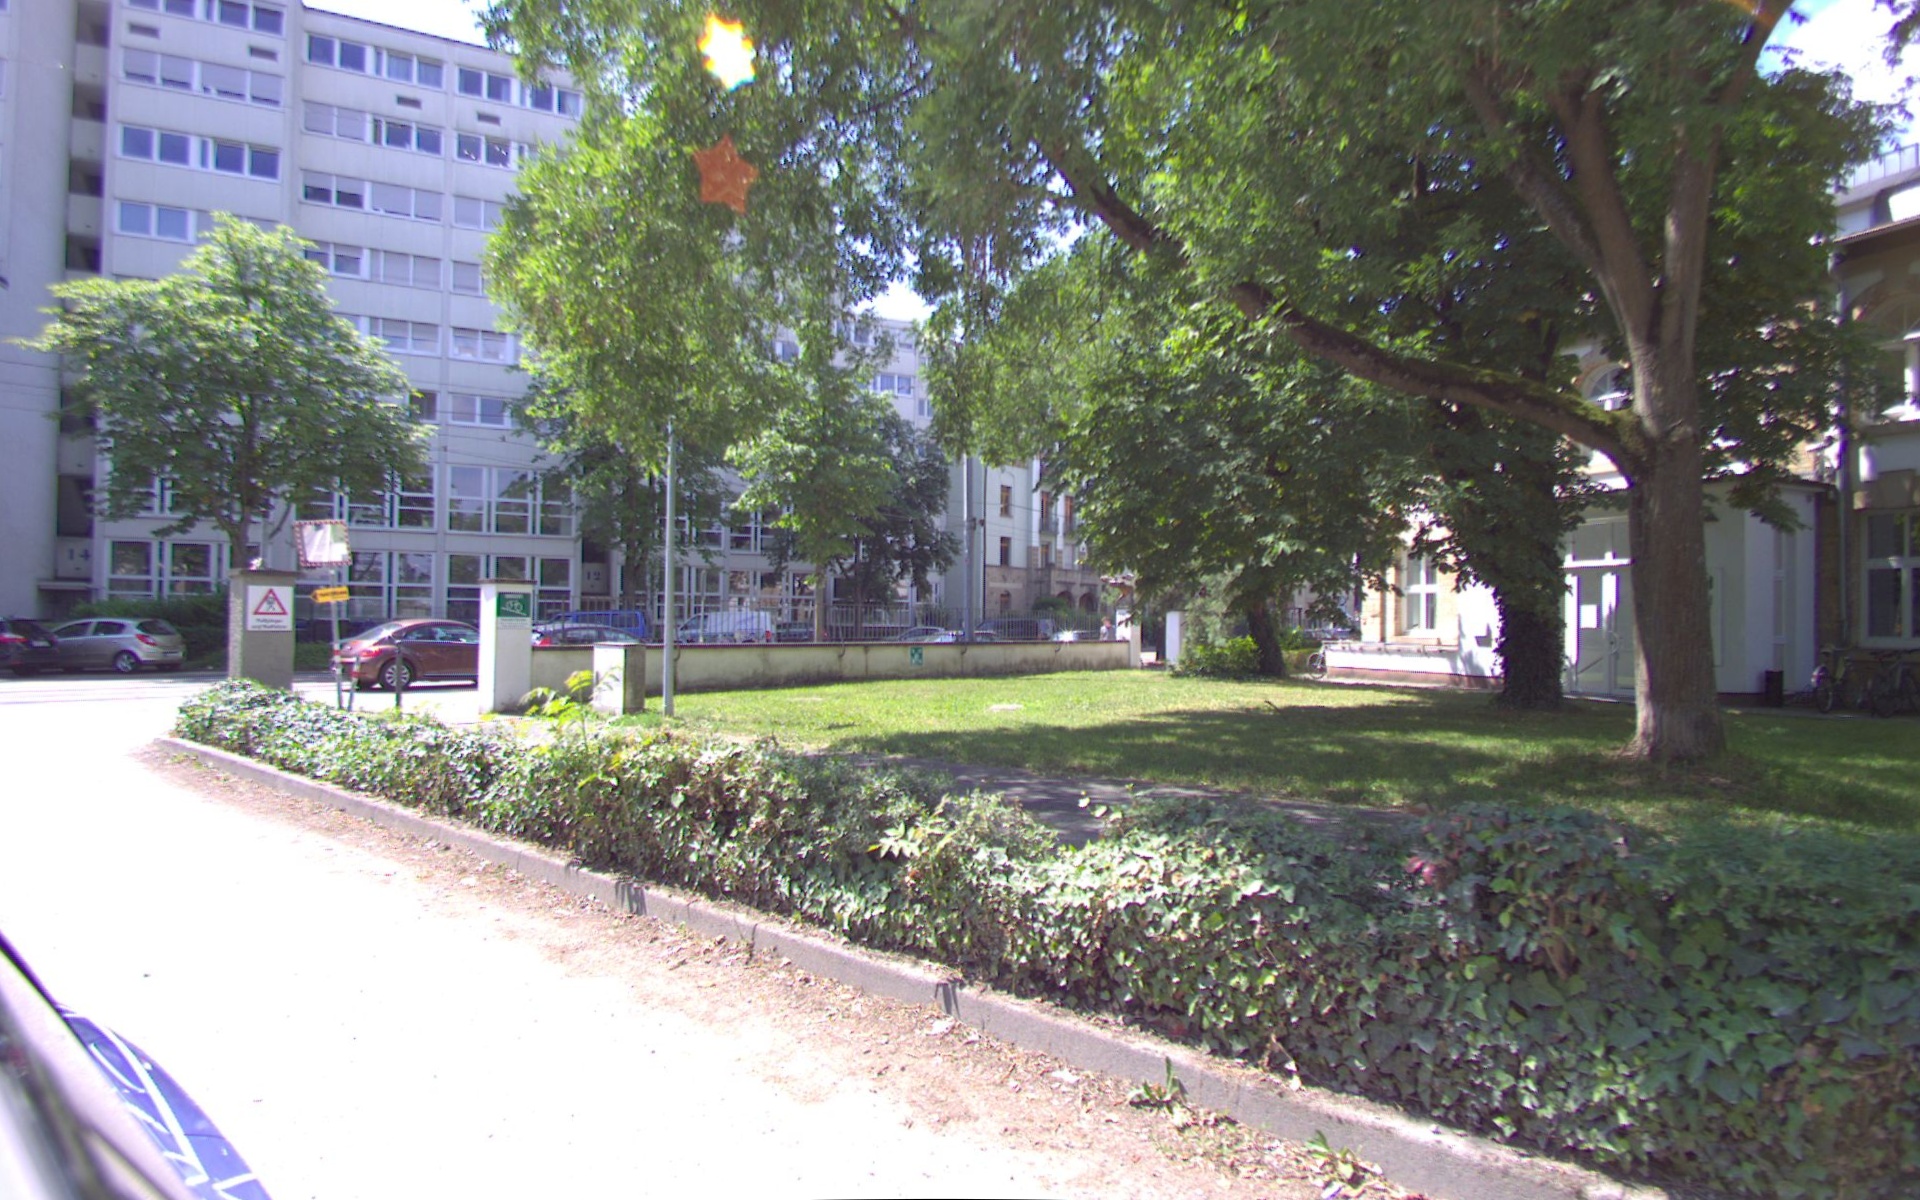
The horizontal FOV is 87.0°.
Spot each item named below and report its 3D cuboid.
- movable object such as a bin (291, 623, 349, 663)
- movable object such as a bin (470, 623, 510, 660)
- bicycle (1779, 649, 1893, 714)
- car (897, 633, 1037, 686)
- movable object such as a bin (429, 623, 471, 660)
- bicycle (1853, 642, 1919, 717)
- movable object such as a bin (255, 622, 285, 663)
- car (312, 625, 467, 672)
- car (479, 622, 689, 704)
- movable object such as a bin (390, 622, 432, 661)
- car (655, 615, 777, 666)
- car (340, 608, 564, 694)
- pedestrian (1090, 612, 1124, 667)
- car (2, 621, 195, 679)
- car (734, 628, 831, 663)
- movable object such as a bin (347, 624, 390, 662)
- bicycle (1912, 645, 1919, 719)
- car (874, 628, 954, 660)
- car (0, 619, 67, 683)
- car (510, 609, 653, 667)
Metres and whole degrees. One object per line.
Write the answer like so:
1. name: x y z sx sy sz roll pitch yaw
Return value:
1. movable object such as a bin: -22.252 1.499 35.215 1.125 1.340 1.432 -2 -3 41
2. movable object such as a bin: -18.509 1.622 39.872 1.164 1.409 1.039 2 -3 -43
3. bicycle: 13.556 1.234 15.638 2.221 0.897 0.657 1 -2 -31
4. car: 0.261 1.693 29.520 1.883 1.429 4.094 -2 -3 41
5. movable object such as a bin: -19.523 1.584 38.753 1.164 1.409 1.039 2 -3 -43
6. bicycle: 14.098 1.147 15.001 2.221 1.019 0.634 1 -2 -31
7. movable object such as a bin: -24.003 1.467 35.192 0.791 1.416 0.769 1 -3 -37
8. car: -17.995 1.535 32.067 3.918 1.424 1.718 1 -2 -7
9. car: -7.369 1.228 20.117 1.585 1.468 3.681 -4 -4 35
10. movable object such as a bin: -20.459 1.550 37.713 1.164 1.409 1.039 2 -3 -43
11. car: -10.037 1.668 41.910 4.568 2.029 1.999 0 -2 2
12. car: -11.148 1.083 22.412 1.998 1.702 3.947 1 -1 39
13. pedestrian: 4.272 1.137 29.399 0.696 1.579 0.735 -1 -2 37
14. car: -22.688 1.306 26.783 3.484 1.473 1.757 1 -2 -7
15. car: -7.781 1.982 44.558 3.949 1.497 1.668 0 -2 5
16. movable object such as a bin: -21.321 1.542 36.462 0.970 1.340 1.062 -2 -3 41
17. bicycle: 14.342 1.146 14.394 2.221 1.019 0.572 1 -2 -31
18. car: -2.416 2.252 52.342 3.937 1.397 1.754 3 0 -7
19. car: -24.506 1.210 24.441 4.131 1.481 1.757 1 -2 -7
20. car: -13.773 1.401 37.072 4.559 2.029 2.003 0 -2 -6
